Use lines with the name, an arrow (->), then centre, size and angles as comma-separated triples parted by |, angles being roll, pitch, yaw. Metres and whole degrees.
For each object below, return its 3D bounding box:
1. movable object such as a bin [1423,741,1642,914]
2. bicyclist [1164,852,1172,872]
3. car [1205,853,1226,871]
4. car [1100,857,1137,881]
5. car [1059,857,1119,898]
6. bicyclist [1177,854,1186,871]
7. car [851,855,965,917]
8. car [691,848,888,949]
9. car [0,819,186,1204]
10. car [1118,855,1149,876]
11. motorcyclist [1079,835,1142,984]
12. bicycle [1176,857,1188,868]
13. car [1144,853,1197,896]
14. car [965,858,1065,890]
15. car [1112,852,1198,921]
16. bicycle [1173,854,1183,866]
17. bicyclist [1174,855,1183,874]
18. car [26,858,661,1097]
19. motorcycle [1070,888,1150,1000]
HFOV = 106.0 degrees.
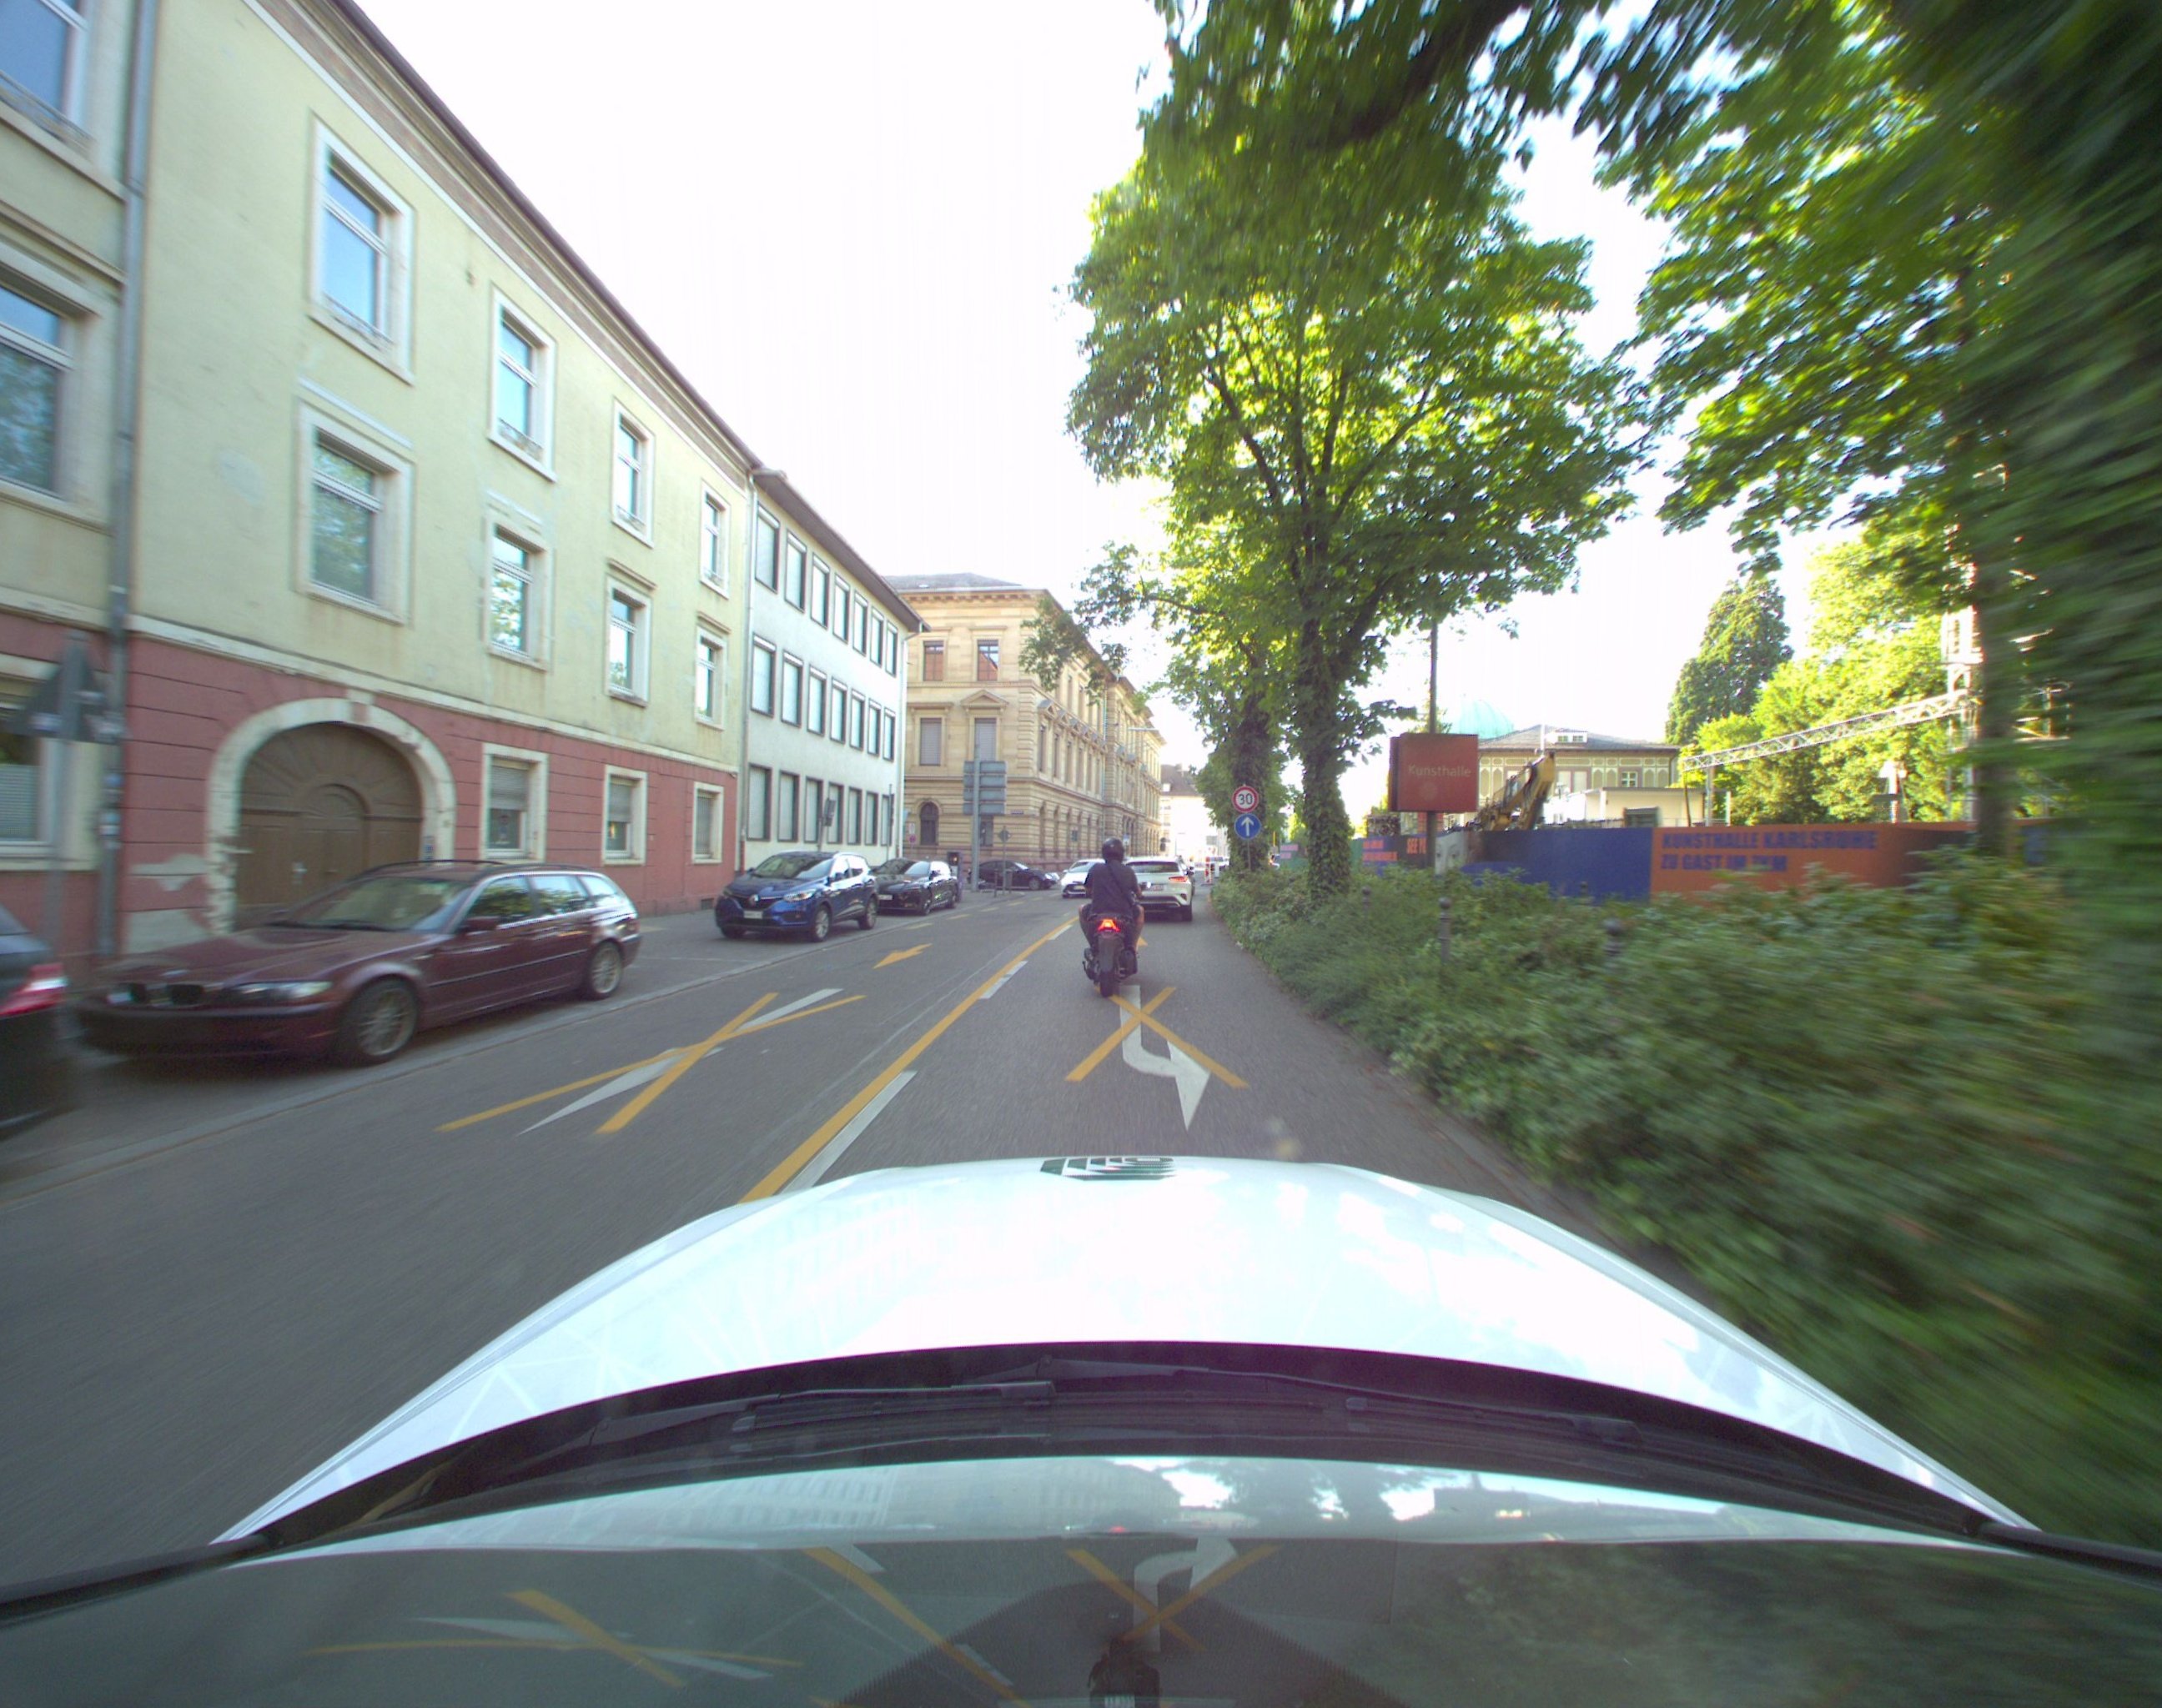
movable object such as a bin -> 13.588, -0.704, 25.515 | 3.289, 4.539, 7.921 | 0, 0, 7
bicyclist -> 7.164, 0.673, 66.793 | 0.562, 1.667, 0.837 | 0, 0, 11
car -> 13.405, 0.793, 81.353 | 1.982, 1.695, 4.410 | 0, 0, 9
car -> 2.564, 0.962, 54.823 | 1.982, 1.567, 4.299 | 0, 0, 9
car -> 0.381, 0.889, 32.154 | 1.725, 1.421, 4.439 | -2, 0, 8
bicyclist -> 9.377, 0.793, 75.811 | 0.622, 1.554, 0.736 | 0, 0, 24
car -> -4.726, 0.811, 23.053 | 1.815, 1.503, 4.766 | 2, 0, 5
car -> -5.406, 0.739, 15.815 | 1.925, 1.667, 4.353 | 0, 0, 5
car -> -5.701, 0.683, 1.869 | 1.915, 1.679, 4.786 | 0, 0, 1
car -> 4.034, 0.876, 61.794 | 1.982, 1.528, 4.194 | 0, 0, 9
motorcyclist -> 0.345, 0.620, 9.435 | 0.654, 1.650, 0.651 | 2, 0, 2
bicycle -> 9.403, 0.780, 75.775 | 0.528, 1.035, 2.047 | 0, 0, 24
car -> 3.478, 0.721, 31.028 | 1.830, 1.463, 4.067 | 2, 0, 8
car -> -3.052, 0.908, 37.825 | 4.283, 1.390, 1.782 | 0, 0, 14
car -> 1.759, 0.708, 19.747 | 1.842, 1.480, 4.062 | -1, 0, 4
bicycle -> 8.469, 0.524, 71.123 | 0.528, 1.035, 1.916 | 0, 0, 19
bicyclist -> 8.523, 0.917, 71.095 | 0.623, 1.613, 0.874 | 0, 0, 19
car -> -5.834, 0.799, 7.395 | 1.647, 1.480, 4.429 | 0, 0, 1
motorcycle -> 0.333, 0.973, 9.355 | 0.793, 1.066, 1.726 | 2, 0, 2
